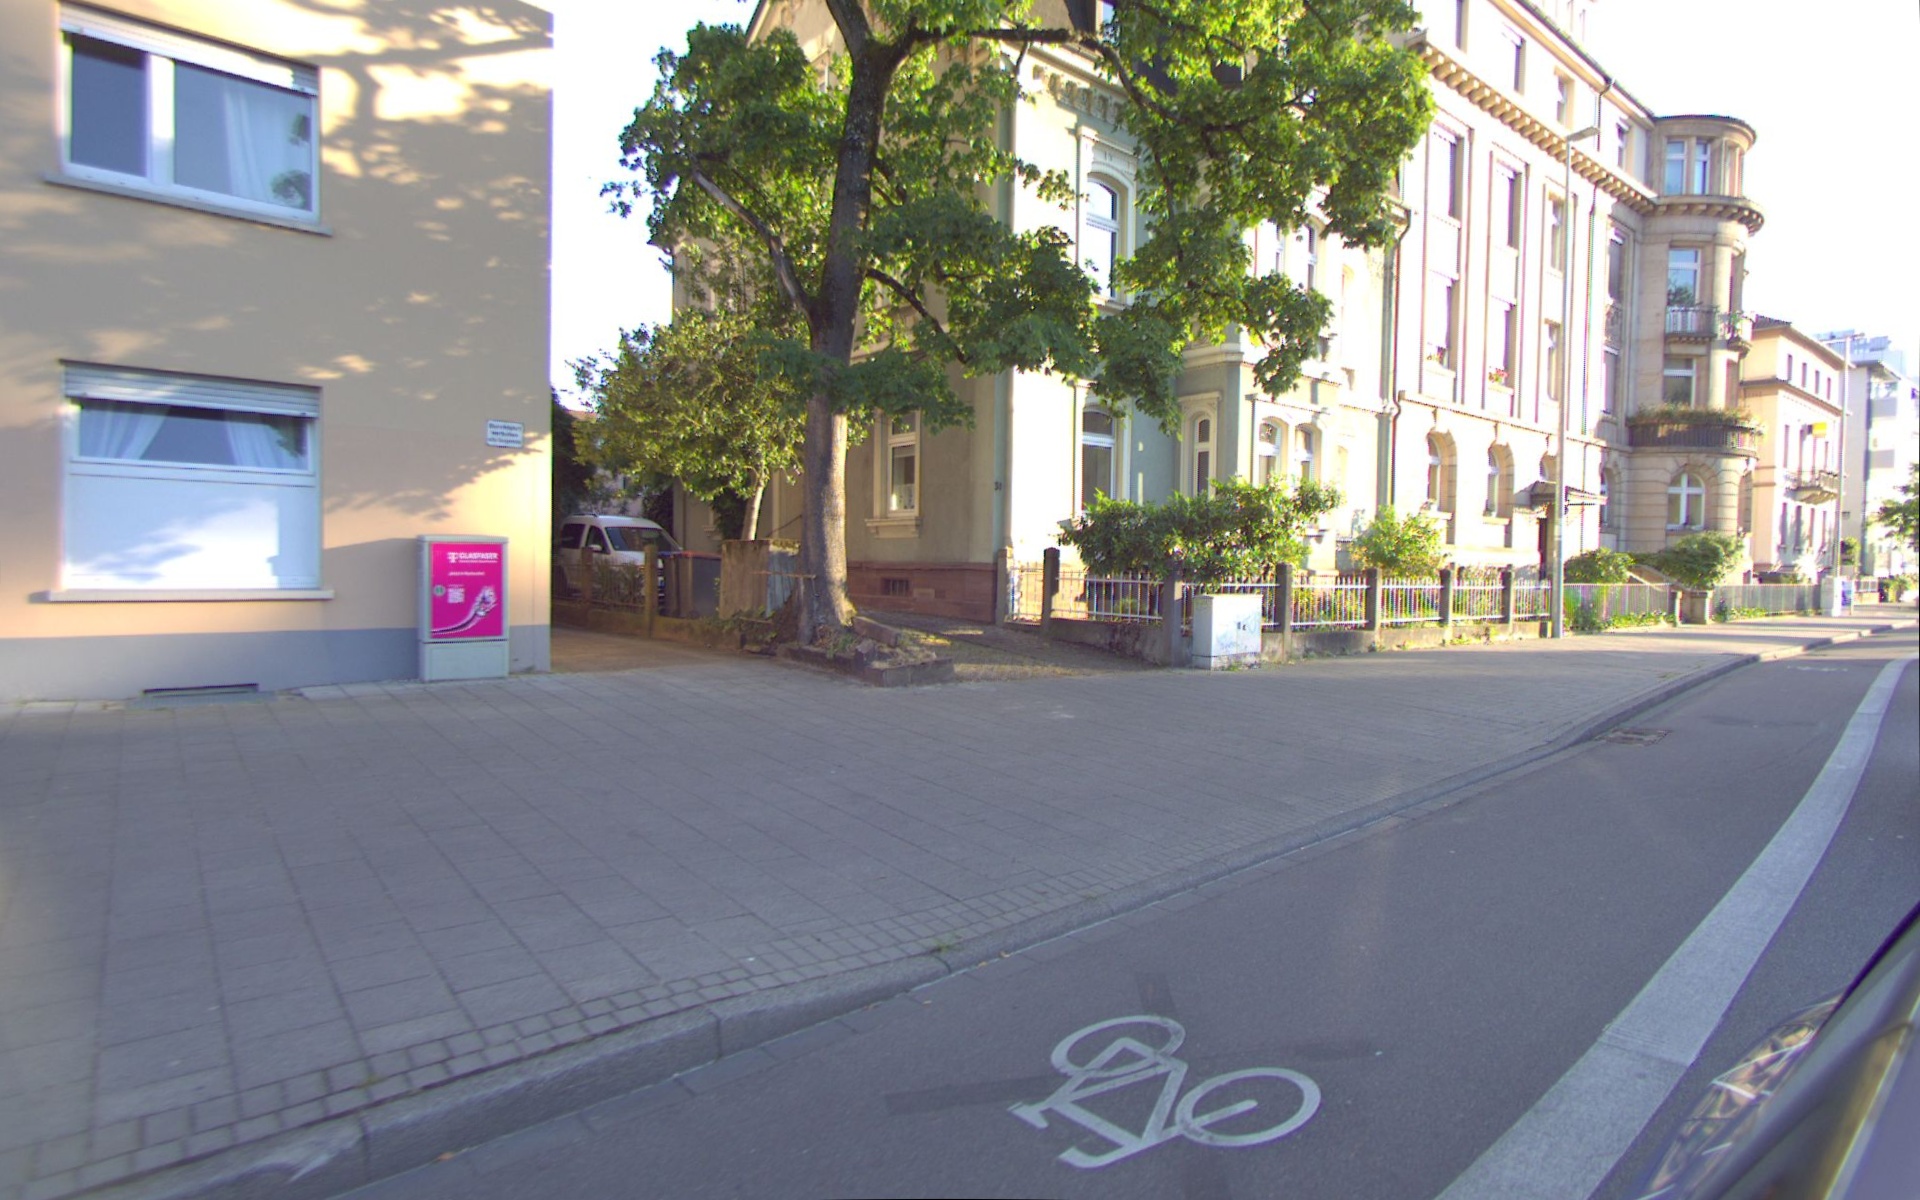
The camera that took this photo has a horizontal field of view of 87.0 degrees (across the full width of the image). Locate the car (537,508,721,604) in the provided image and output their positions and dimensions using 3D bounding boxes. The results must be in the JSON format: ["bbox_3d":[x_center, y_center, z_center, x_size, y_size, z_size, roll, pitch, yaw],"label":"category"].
[{"bbox_3d":[-6.999,-0.966,21.115,1.796,1.778,4.512,0,4,-45],"label":"car"}]

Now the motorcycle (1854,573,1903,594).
[{"bbox_3d":[49.548,-0.918,54.610,0.564,1.110,1.851,0,2,-34],"label":"motorcycle"}]

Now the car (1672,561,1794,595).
[{"bbox_3d":[35.389,-1.024,46.419,1.904,1.499,4.097,-1,2,-39],"label":"car"}]
